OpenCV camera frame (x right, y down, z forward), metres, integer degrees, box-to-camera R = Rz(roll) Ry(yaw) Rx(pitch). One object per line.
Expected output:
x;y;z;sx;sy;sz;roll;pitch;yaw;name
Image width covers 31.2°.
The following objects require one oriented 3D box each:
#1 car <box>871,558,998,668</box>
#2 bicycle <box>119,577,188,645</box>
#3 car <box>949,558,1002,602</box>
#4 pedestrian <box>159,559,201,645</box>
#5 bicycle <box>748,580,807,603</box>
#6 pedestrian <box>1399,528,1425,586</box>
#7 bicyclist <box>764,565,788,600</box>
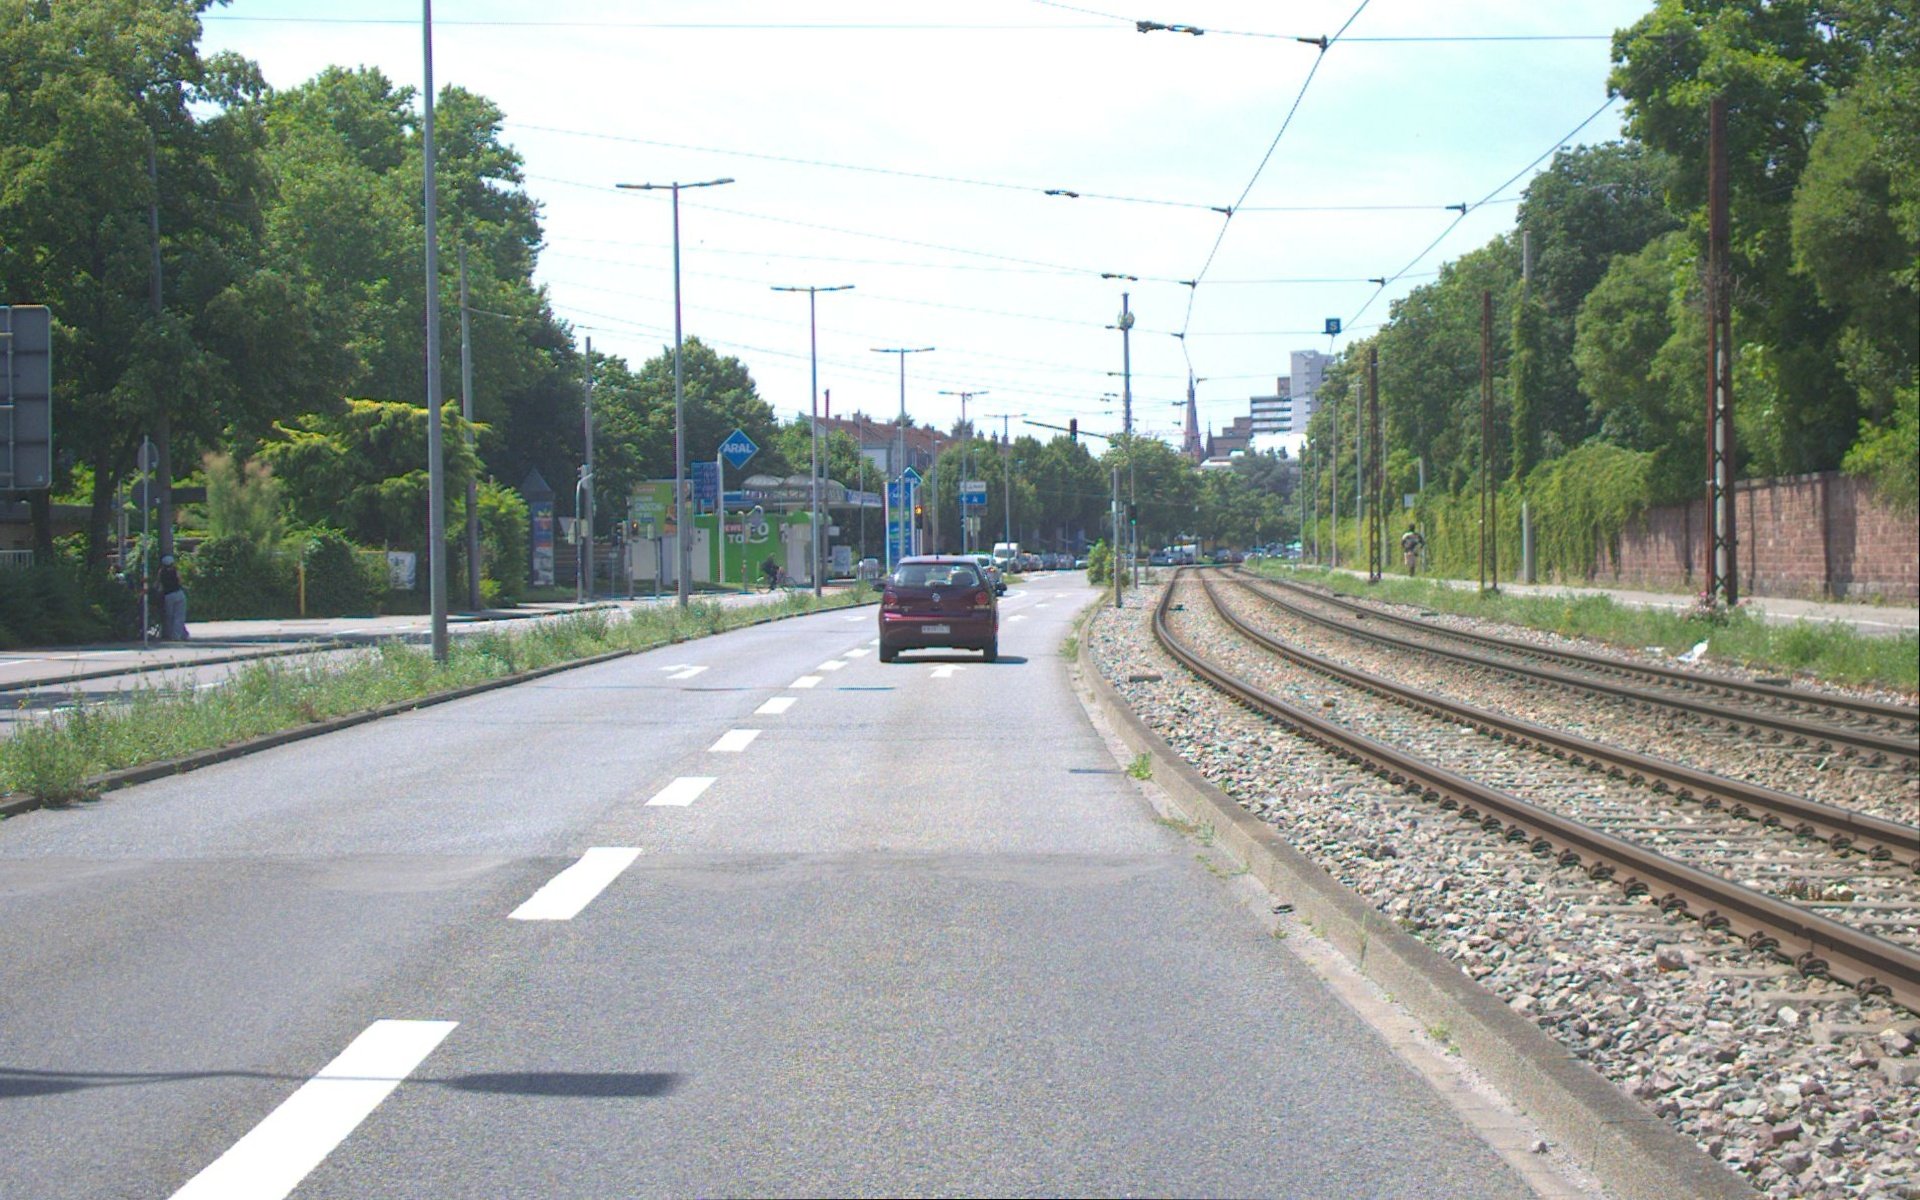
-0.335;0.194;48.192;1.703;1.472;3.716;0;-1;0;car
-16.269;0.211;69.380;0.646;1.323;1.572;-1;1;16;bicycle
0.523;-0.710;120.008;1.702;1.475;3.717;1;1;-1;car
-15.697;0.033;69.202;0.549;1.712;0.603;-1;0;16;pedestrian
-8.286;-0.369;155.883;2.549;1.034;1.088;0;0;-11;bicycle
13.566;-1.283;103.163;0.661;1.720;0.816;-1;1;3;pedestrian
-8.334;-0.804;155.904;0.944;1.588;1.088;0;0;-11;bicyclist
